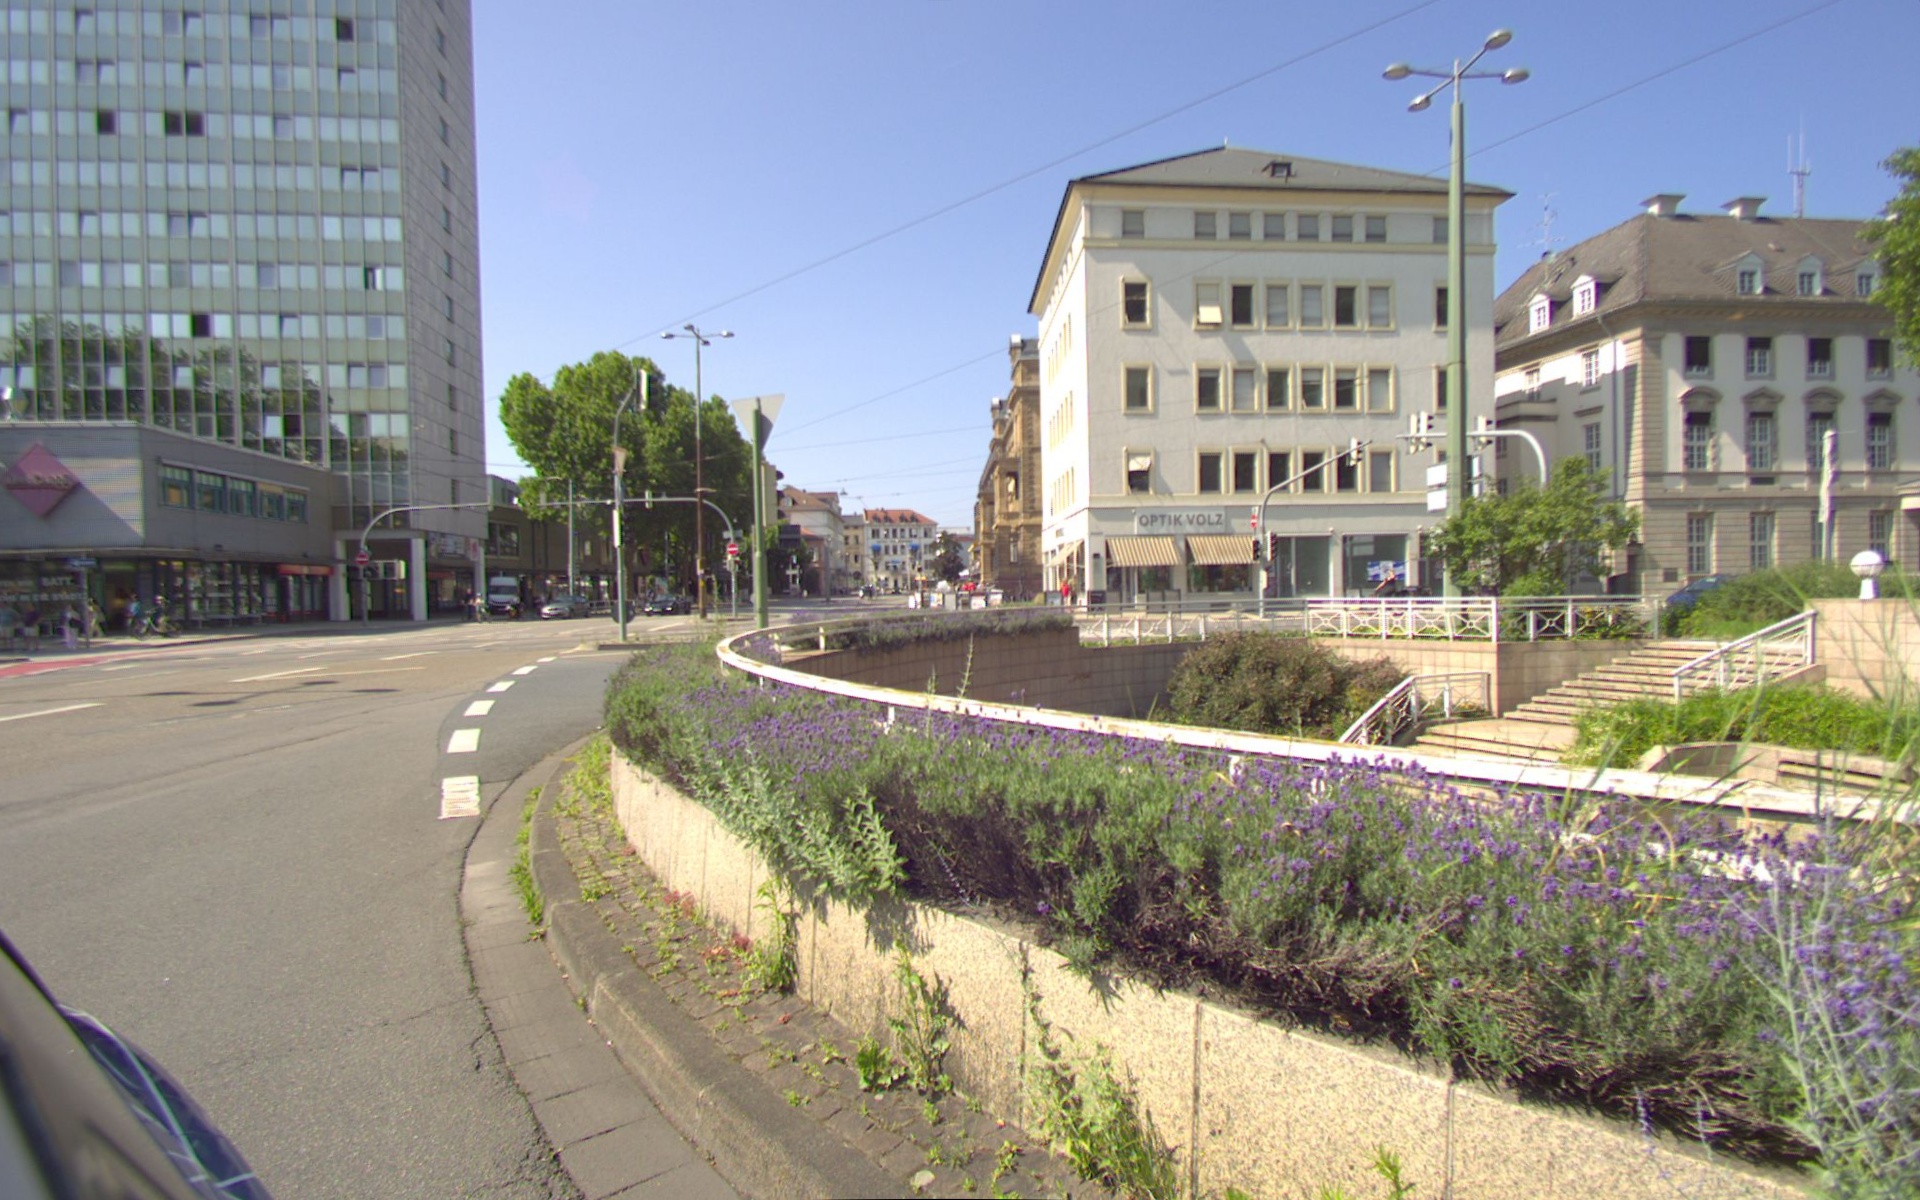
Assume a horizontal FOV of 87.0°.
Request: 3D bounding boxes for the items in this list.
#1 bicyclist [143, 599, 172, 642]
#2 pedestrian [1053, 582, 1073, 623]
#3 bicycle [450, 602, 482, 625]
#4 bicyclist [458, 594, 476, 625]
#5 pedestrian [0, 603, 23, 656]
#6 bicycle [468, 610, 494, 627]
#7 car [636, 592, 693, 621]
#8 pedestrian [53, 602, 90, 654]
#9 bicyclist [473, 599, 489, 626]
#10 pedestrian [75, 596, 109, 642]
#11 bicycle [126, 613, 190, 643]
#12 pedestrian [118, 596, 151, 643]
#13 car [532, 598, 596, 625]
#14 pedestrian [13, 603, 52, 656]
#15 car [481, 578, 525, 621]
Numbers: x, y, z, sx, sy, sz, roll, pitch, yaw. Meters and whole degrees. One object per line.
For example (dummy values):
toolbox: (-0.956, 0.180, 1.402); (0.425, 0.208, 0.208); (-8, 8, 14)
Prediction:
bicyclist: (-31.846, 0.807, 40.171); (0.580, 1.700, 0.679); (-1, 1, 22)
pedestrian: (4.431, 0.101, 43.630); (0.584, 1.772, 0.643); (-1, 0, -30)
bicycle: (-28.643, 0.764, 58.729); (0.708, 1.309, 1.934); (0, 1, 9)
bicyclist: (-28.634, 0.530, 58.774); (0.689, 1.781, 0.682); (0, 1, 9)
pedestrian: (-34.063, 1.043, 36.013); (0.723, 1.850, 0.825); (-1, 0, -8)
bicycle: (-27.087, 1.030, 57.256); (0.585, 0.889, 1.809); (0, 1, 3)
car: (-17.301, 0.357, 59.426); (1.859, 1.545, 4.072); (-1, 1, 5)
pedestrian: (-32.417, 1.004, 36.934); (0.660, 1.850, 0.825); (-1, 0, -9)
bicyclist: (-27.088, 0.695, 57.236); (0.575, 1.538, 0.683); (0, 1, 3)
pedestrian: (-34.655, 0.763, 40.405); (0.666, 1.820, 0.819); (-1, 0, 18)
bicycle: (-31.828, 1.102, 40.207); (0.573, 1.110, 1.955); (-1, 1, 22)
pedestrian: (-32.977, 0.775, 40.437); (0.667, 1.850, 0.817); (-1, 0, 23)
car: (-23.528, 0.640, 60.297); (1.859, 1.471, 4.158); (-1, 1, 5)
pedestrian: (-33.090, 1.041, 36.111); (0.660, 1.850, 0.825); (-1, 0, -8)
car: (-32.499, -0.057, 72.018); (1.719, 2.938, 4.646); (-2, 1, -10)
